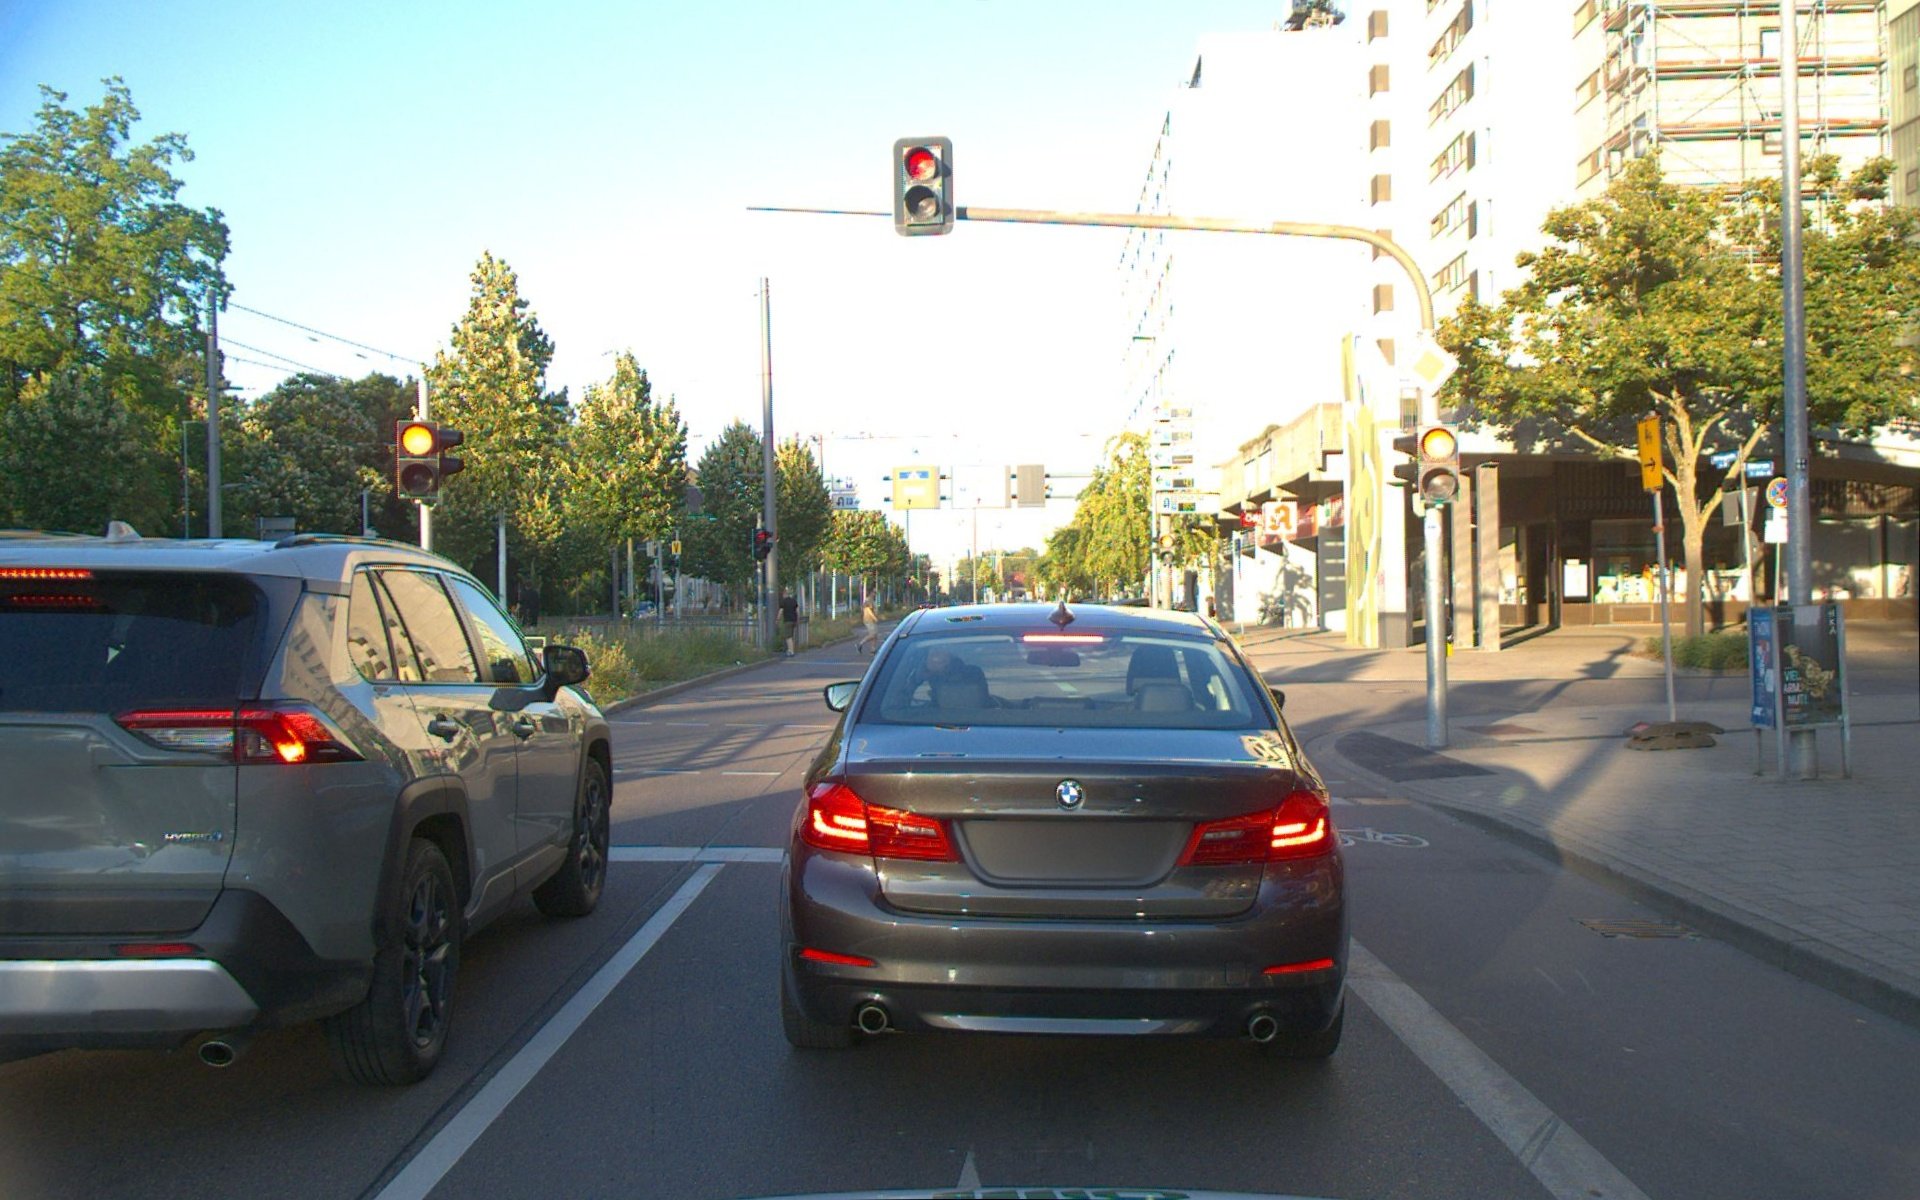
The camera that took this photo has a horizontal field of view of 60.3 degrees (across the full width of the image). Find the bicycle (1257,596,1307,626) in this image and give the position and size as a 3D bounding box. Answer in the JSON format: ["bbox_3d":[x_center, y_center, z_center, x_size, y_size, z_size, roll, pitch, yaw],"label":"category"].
[{"bbox_3d":[13.446,0.468,69.164,1.974,1.169,0.691,2,-1,6],"label":"bicycle"}]

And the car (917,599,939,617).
[{"bbox_3d":[-2.829,0.659,146.891,1.938,1.458,4.843,0,1,0],"label":"car"}]

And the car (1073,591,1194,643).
[{"bbox_3d":[5.982,0.553,56.746,4.234,1.687,1.831,-1,1,-43],"label":"car"}]

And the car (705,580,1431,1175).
[{"bbox_3d":[0.369,0.696,6.598,1.892,1.507,4.524,0,1,2],"label":"car"}]

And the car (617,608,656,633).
[{"bbox_3d":[-20.861,1.296,106.769,1.763,1.507,3.783,-1,0,0],"label":"car"}]

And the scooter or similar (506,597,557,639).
[{"bbox_3d":[-12.138,0.506,46.883,1.312,1.173,0.510,-1,0,-24],"label":"scooter or similar"}]

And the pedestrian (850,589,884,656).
[{"bbox_3d":[-2.433,0.587,43.376,0.818,1.742,0.647,-1,0,-2],"label":"pedestrian"}]

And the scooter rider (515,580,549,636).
[{"bbox_3d":[-12.149,0.223,46.915,0.810,1.540,0.648,-1,0,-24],"label":"scooter rider"}]

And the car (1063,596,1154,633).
[{"bbox_3d":[7.113,0.666,79.281,4.221,1.687,1.837,0,1,-36],"label":"car"}]

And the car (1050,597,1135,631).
[{"bbox_3d":[6.828,0.699,85.246,4.219,1.687,1.838,0,1,-36],"label":"car"}]

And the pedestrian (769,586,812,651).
[{"bbox_3d":[-4.253,0.461,41.430,0.800,1.614,0.830,-1,0,-28],"label":"pedestrian"}]

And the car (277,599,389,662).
[{"bbox_3d":[-23.541,1.103,62.290,1.951,2.206,4.755,0,1,7],"label":"car"}]

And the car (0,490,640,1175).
[{"bbox_3d":[-2.473,0.530,6.195,1.817,1.687,4.267,0,1,-2],"label":"car"}]

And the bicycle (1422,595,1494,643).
[{"bbox_3d":[12.488,0.470,41.523,0.678,1.169,2.012,2,-1,-18],"label":"bicycle"}]
